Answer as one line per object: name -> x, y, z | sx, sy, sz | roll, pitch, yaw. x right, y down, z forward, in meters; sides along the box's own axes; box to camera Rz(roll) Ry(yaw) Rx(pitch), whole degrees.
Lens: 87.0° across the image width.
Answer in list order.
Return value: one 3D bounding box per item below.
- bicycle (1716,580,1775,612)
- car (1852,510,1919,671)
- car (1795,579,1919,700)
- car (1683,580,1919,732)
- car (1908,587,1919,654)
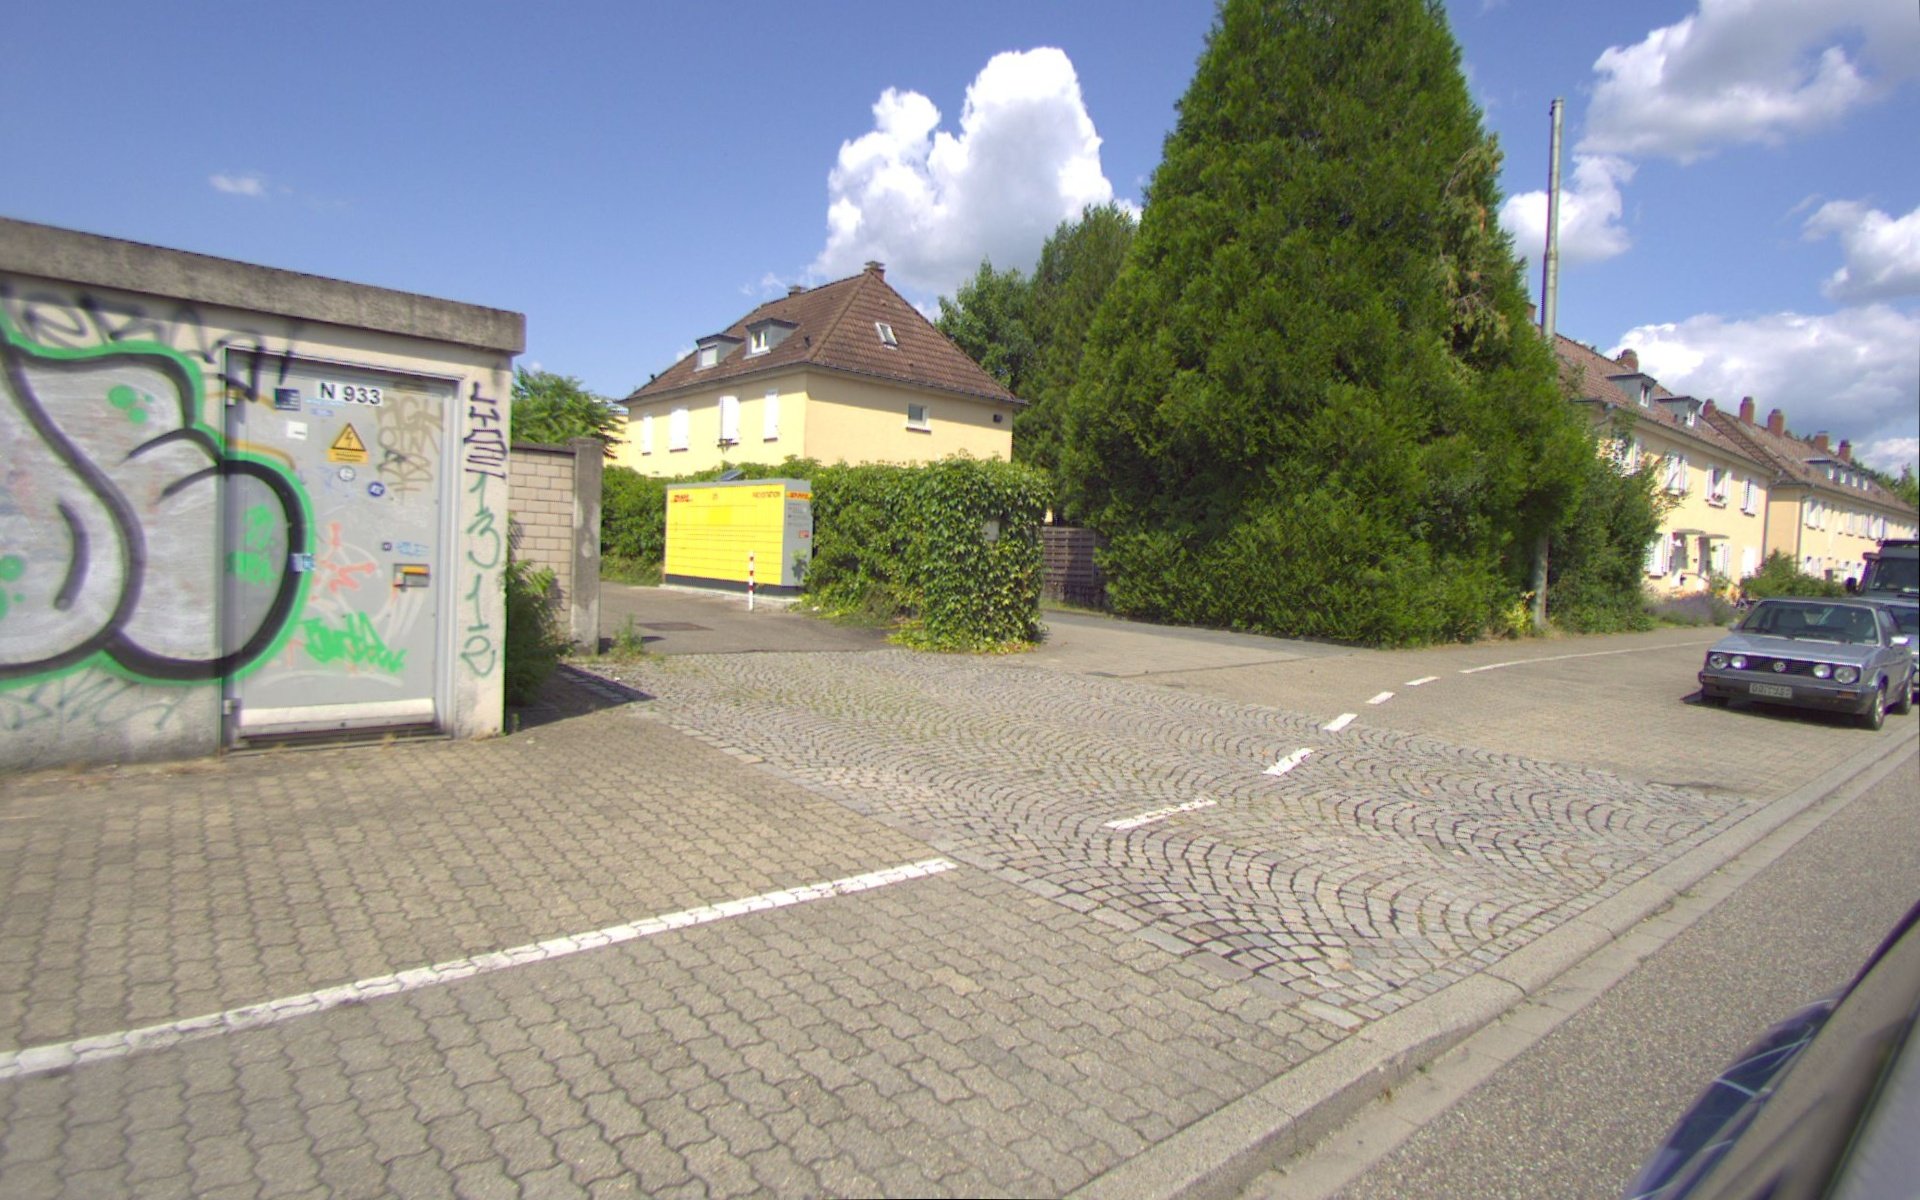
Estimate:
bicycle -> 29.593, -0.159, 38.166 | 0.285, 1.116, 1.693 | 1, 3, -40
car -> 18.760, -0.153, 19.135 | 4.792, 2.793, 2.001 | 0, 4, -40
car -> 14.133, 0.510, 15.288 | 4.282, 1.534, 1.694 | -1, 5, -43
car -> 10.395, 0.545, 12.217 | 4.023, 1.448, 1.656 | -1, 5, -39
car -> 22.714, 0.501, 22.527 | 4.751, 1.418, 1.726 | 0, 5, -40
